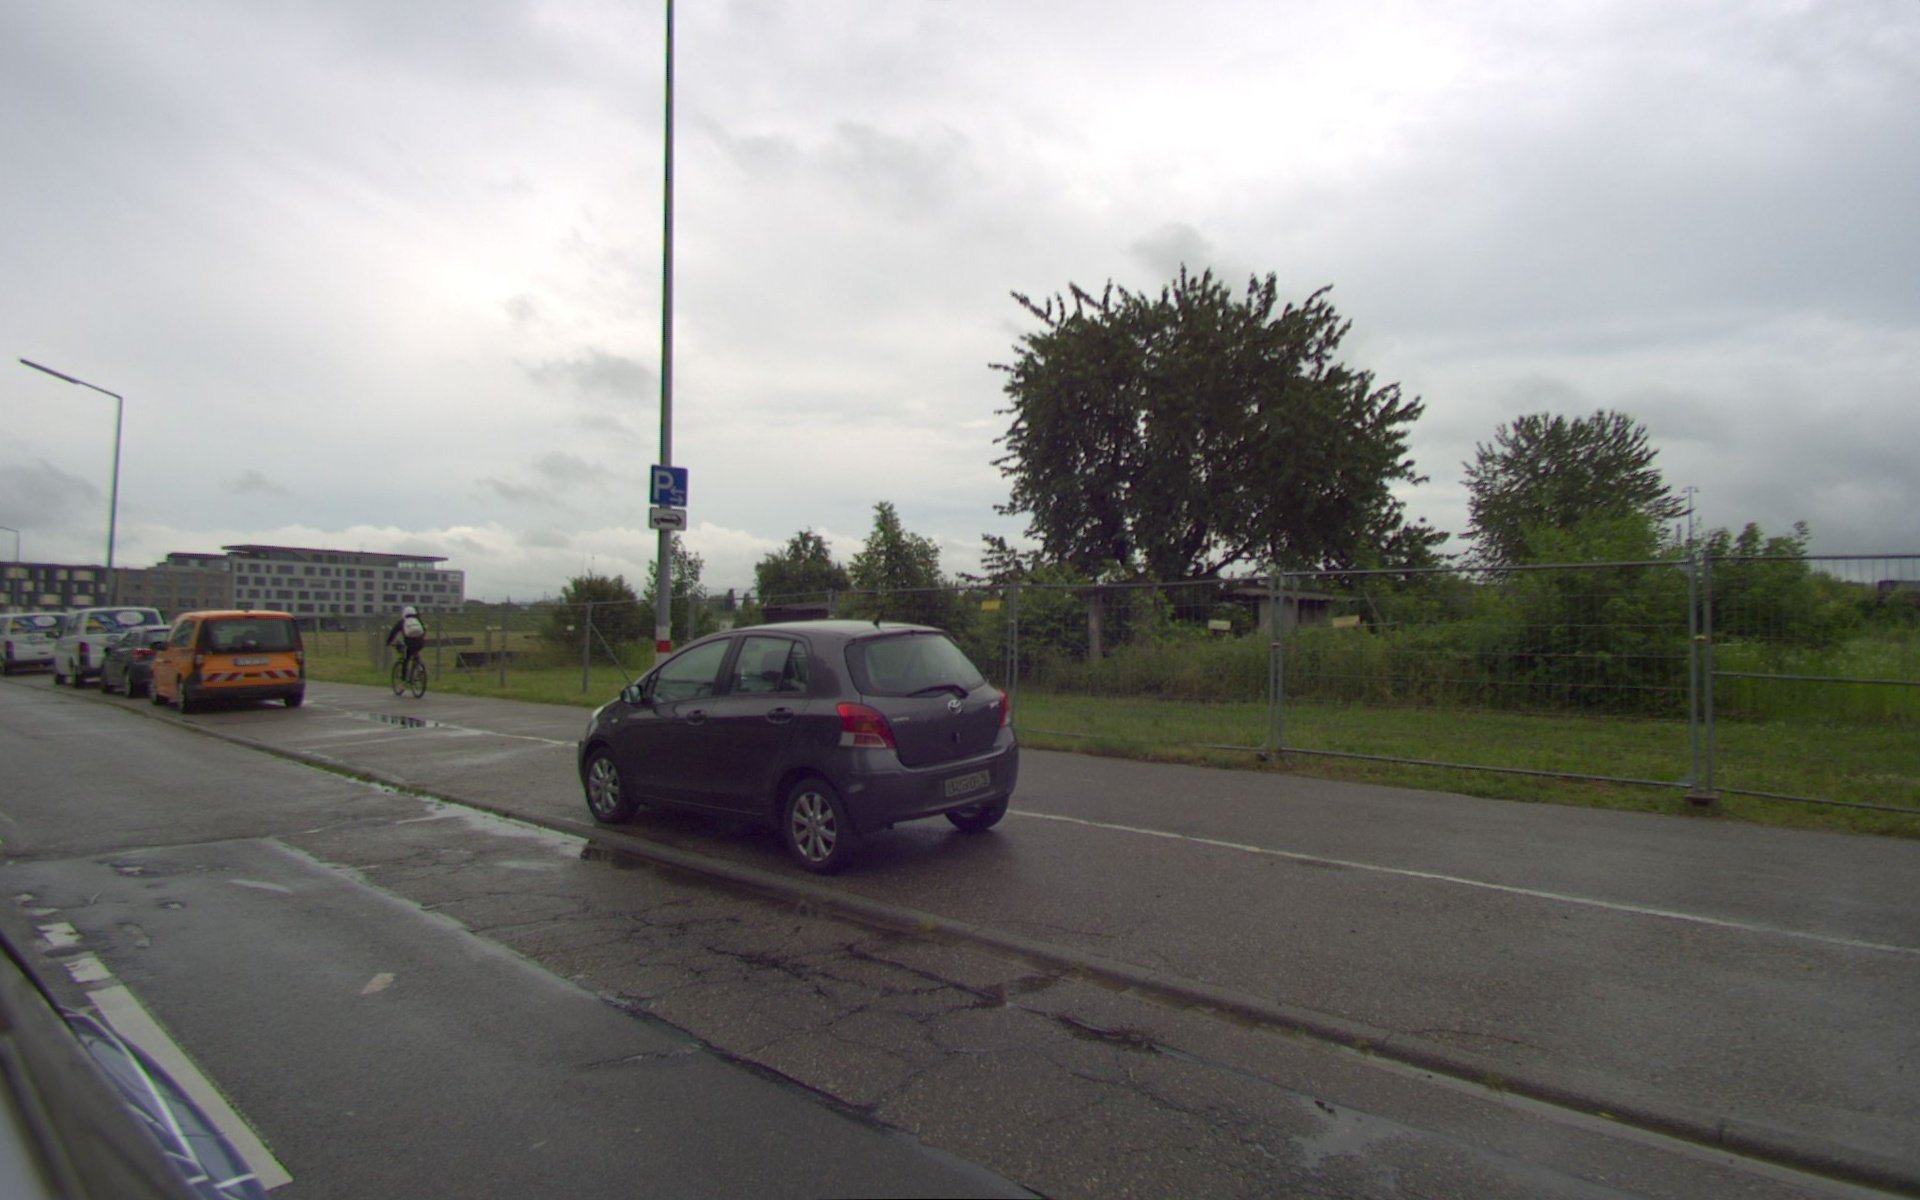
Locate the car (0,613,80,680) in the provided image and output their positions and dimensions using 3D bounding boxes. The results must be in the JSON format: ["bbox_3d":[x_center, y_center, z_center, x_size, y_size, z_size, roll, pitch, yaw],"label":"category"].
[{"bbox_3d":[-31.237,1.505,33.920,5.272,2.074,1.939,-2,-2,41],"label":"car"}]

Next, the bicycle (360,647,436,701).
[{"bbox_3d":[-11.685,1.512,21.028,2.143,1.050,0.709,-2,-2,41],"label":"bicycle"}]

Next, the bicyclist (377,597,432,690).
[{"bbox_3d":[-11.421,0.884,20.816,1.008,1.843,0.691,-2,-2,41],"label":"bicyclist"}]

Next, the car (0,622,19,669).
[{"bbox_3d":[-41.331,1.917,42.655,4.992,1.916,1.935,-2,-2,41],"label":"car"}]

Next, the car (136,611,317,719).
[{"bbox_3d":[-13.818,1.142,18.966,4.331,1.781,1.919,-2,-3,43],"label":"car"}]

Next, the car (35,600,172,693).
[{"bbox_3d":[-22.994,1.205,27.082,5.554,2.253,1.922,-2,-3,41],"label":"car"}]

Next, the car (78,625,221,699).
[{"bbox_3d":[-18.574,1.341,23.103,4.889,1.513,1.666,-1,-2,41],"label":"car"}]

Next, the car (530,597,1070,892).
[{"bbox_3d":[-1.369,0.838,7.542,4.031,1.573,1.785,-2,0,41],"label":"car"}]

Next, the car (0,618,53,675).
[{"bbox_3d":[-35.823,1.714,38.078,5.255,2.029,1.875,-2,-3,41],"label":"car"}]
